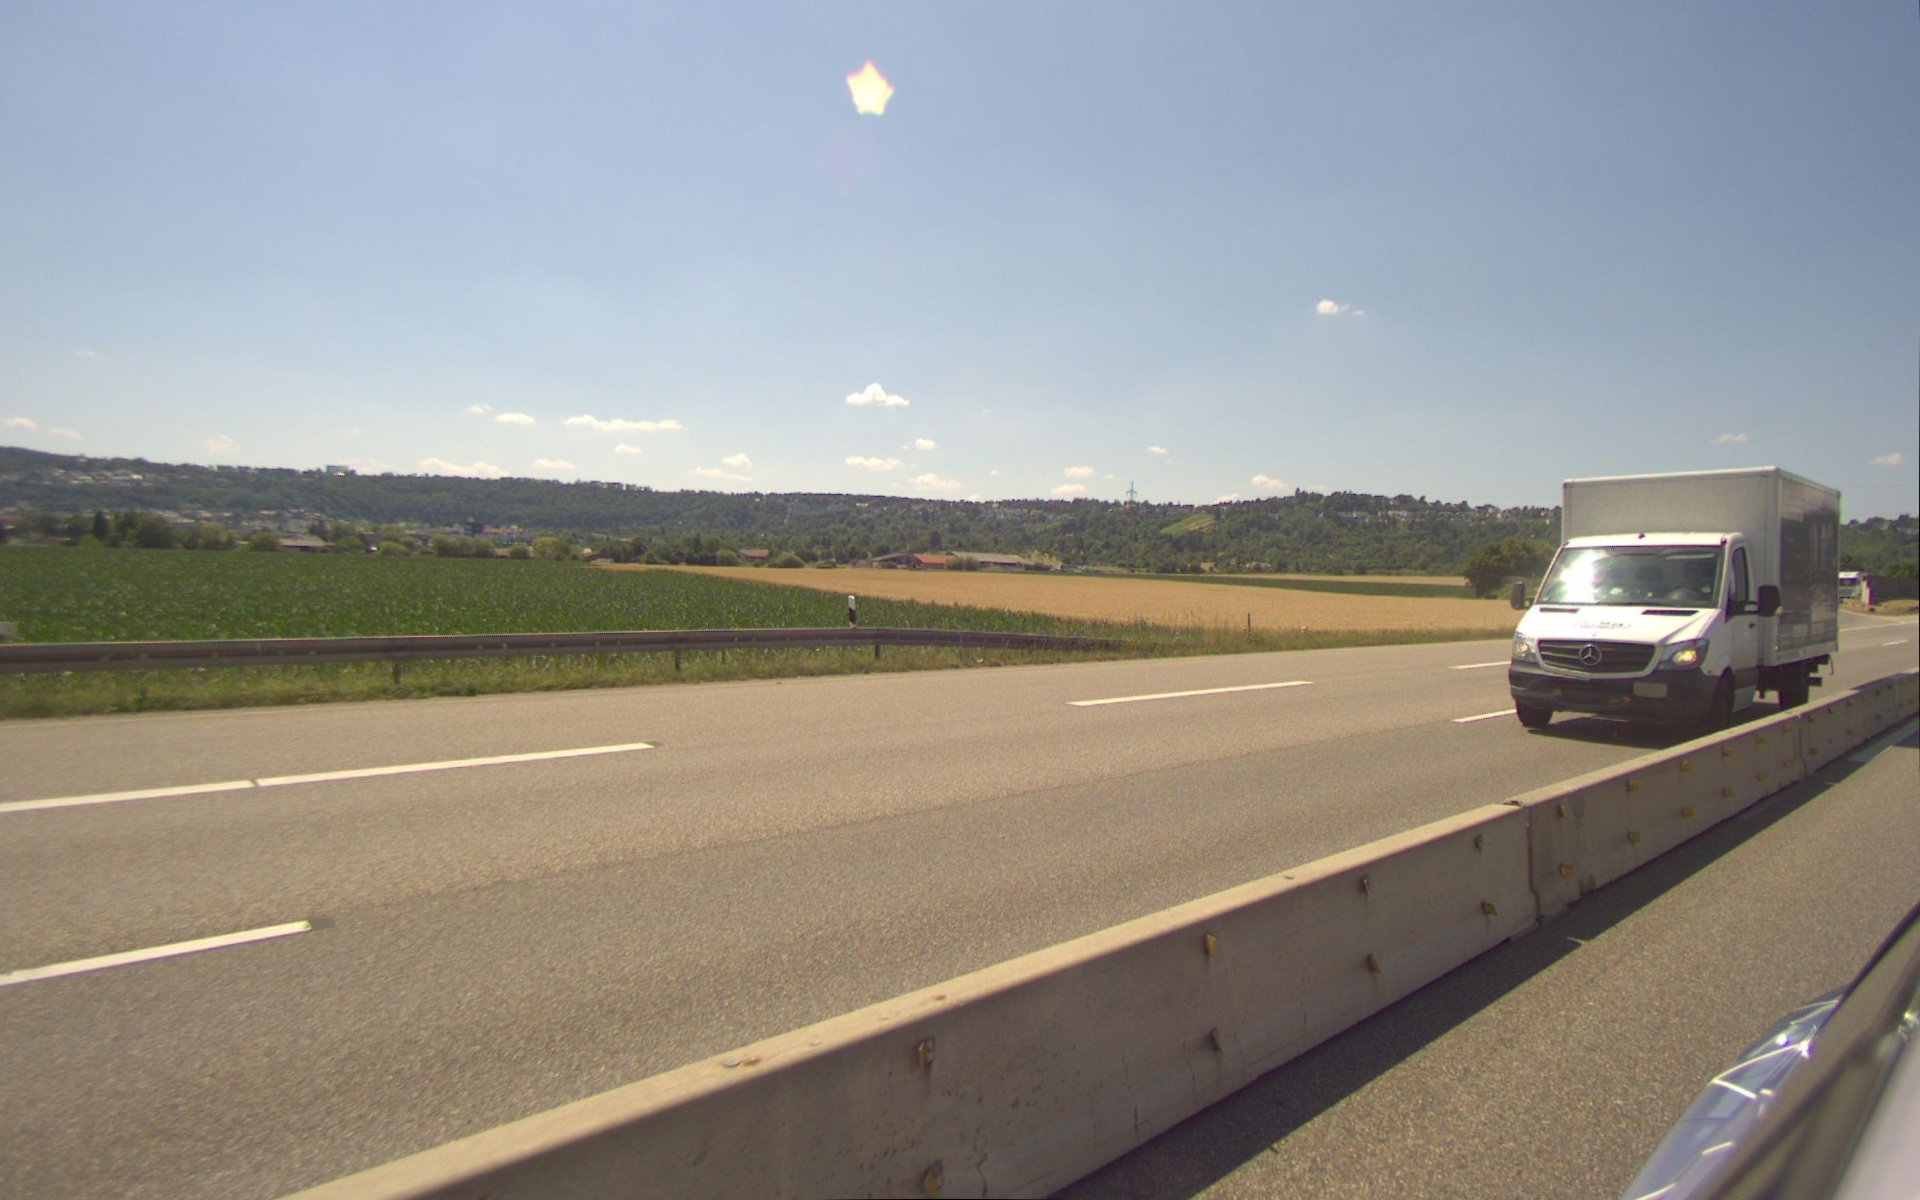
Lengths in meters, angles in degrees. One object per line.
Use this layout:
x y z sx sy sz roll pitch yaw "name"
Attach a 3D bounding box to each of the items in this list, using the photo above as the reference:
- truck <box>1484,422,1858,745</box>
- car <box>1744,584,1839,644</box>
9.225 -0.145 12.791 6.632 3.106 2.325 1 0 -41 "truck"
26.172 0.430 31.802 3.902 1.759 1.630 1 0 -40 "car"
